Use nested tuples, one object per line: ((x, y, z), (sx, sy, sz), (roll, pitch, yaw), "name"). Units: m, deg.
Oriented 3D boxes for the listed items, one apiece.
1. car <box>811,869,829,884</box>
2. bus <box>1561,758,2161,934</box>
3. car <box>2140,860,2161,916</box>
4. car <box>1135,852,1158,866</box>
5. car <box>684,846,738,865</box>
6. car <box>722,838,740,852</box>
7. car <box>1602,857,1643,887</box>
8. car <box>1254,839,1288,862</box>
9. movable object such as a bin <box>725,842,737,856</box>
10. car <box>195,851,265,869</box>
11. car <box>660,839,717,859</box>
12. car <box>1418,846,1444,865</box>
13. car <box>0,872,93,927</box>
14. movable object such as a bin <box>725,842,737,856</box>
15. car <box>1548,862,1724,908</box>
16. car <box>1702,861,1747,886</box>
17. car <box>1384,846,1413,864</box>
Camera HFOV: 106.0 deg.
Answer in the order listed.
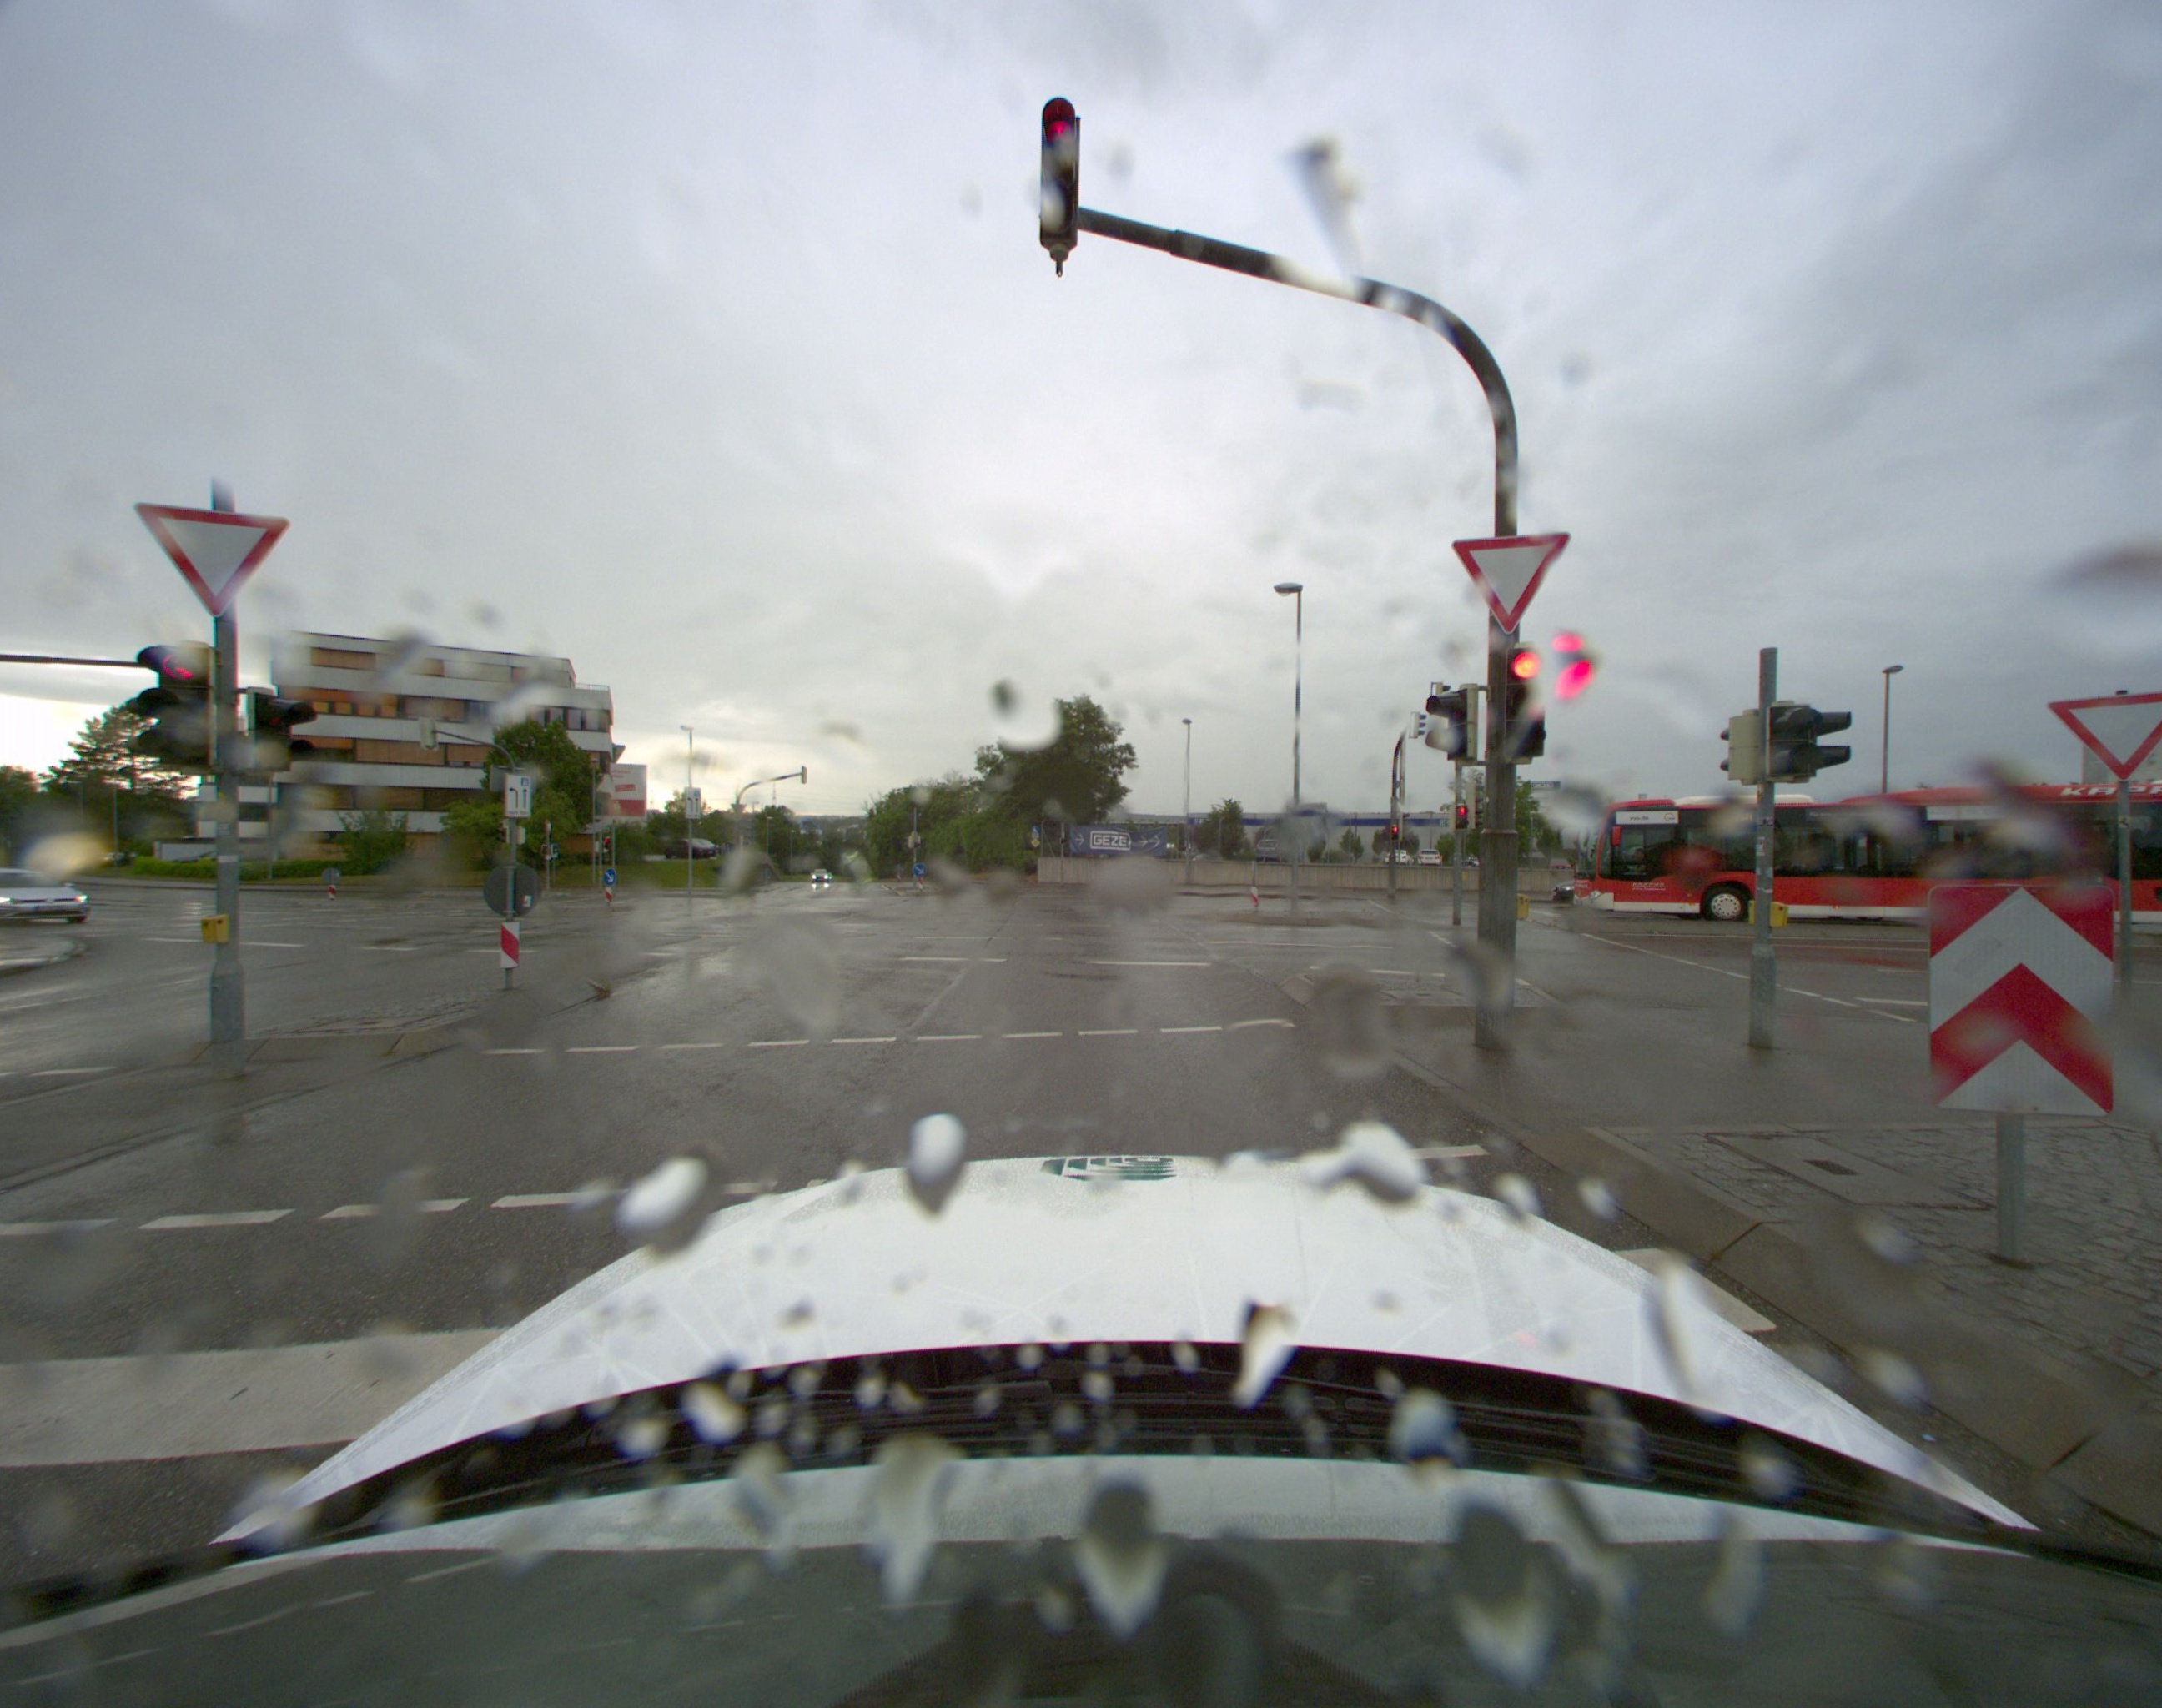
((-27.366, 2.319, 85.248), (1.667, 1.494, 3.973), (0, -1, -20), "car")
((18.619, -0.261, 19.240), (12.152, 3.576, 3.001), (2, 0, 19), "bus")
((31.686, 0.946, 21.461), (4.344, 1.538, 1.834), (0, 0, 18), "car")
((7.780, 0.586, 95.879), (1.651, 1.606, 3.550), (-1, -1, 23), "car")
((-32.589, 0.143, 71.801), (3.958, 1.586, 1.909), (0, -2, 14), "car")
((-41.354, -1.074, 96.279), (1.836, 1.442, 3.967), (1, -2, -25), "car")
((37.833, 1.259, 56.973), (1.727, 2.014, 3.844), (-1, -1, 23), "car")
((13.362, -0.242, 57.261), (1.727, 1.553, 3.550), (-1, -1, 23), "car")
((-37.747, -0.514, 87.868), (1.089, 1.437, 1.434), (1, -3, -25), "movable object such as a bin")
((-70.098, 0.457, 67.132), (3.779, 1.399, 1.977), (0, 0, -40), "car")
((-33.416, -0.426, 69.332), (3.962, 1.586, 1.907), (0, -2, 10), "car")
((28.911, 0.132, 67.169), (1.841, 1.526, 4.127), (-1, -1, 25), "car")
((-28.853, 1.173, 21.730), (4.479, 1.363, 1.771), (-1, -1, 20), "car")
((-38.343, -0.500, 89.191), (1.089, 1.437, 1.434), (1, -3, -25), "movable object such as a bin")
((17.644, 0.943, 26.122), (4.344, 1.354, 1.834), (0, 0, 18), "car")
((52.977, 1.568, 67.104), (1.976, 2.014, 4.022), (-1, -1, 24), "car")
((26.483, 0.110, 67.859), (1.800, 1.434, 4.128), (-1, -1, 28), "car")
